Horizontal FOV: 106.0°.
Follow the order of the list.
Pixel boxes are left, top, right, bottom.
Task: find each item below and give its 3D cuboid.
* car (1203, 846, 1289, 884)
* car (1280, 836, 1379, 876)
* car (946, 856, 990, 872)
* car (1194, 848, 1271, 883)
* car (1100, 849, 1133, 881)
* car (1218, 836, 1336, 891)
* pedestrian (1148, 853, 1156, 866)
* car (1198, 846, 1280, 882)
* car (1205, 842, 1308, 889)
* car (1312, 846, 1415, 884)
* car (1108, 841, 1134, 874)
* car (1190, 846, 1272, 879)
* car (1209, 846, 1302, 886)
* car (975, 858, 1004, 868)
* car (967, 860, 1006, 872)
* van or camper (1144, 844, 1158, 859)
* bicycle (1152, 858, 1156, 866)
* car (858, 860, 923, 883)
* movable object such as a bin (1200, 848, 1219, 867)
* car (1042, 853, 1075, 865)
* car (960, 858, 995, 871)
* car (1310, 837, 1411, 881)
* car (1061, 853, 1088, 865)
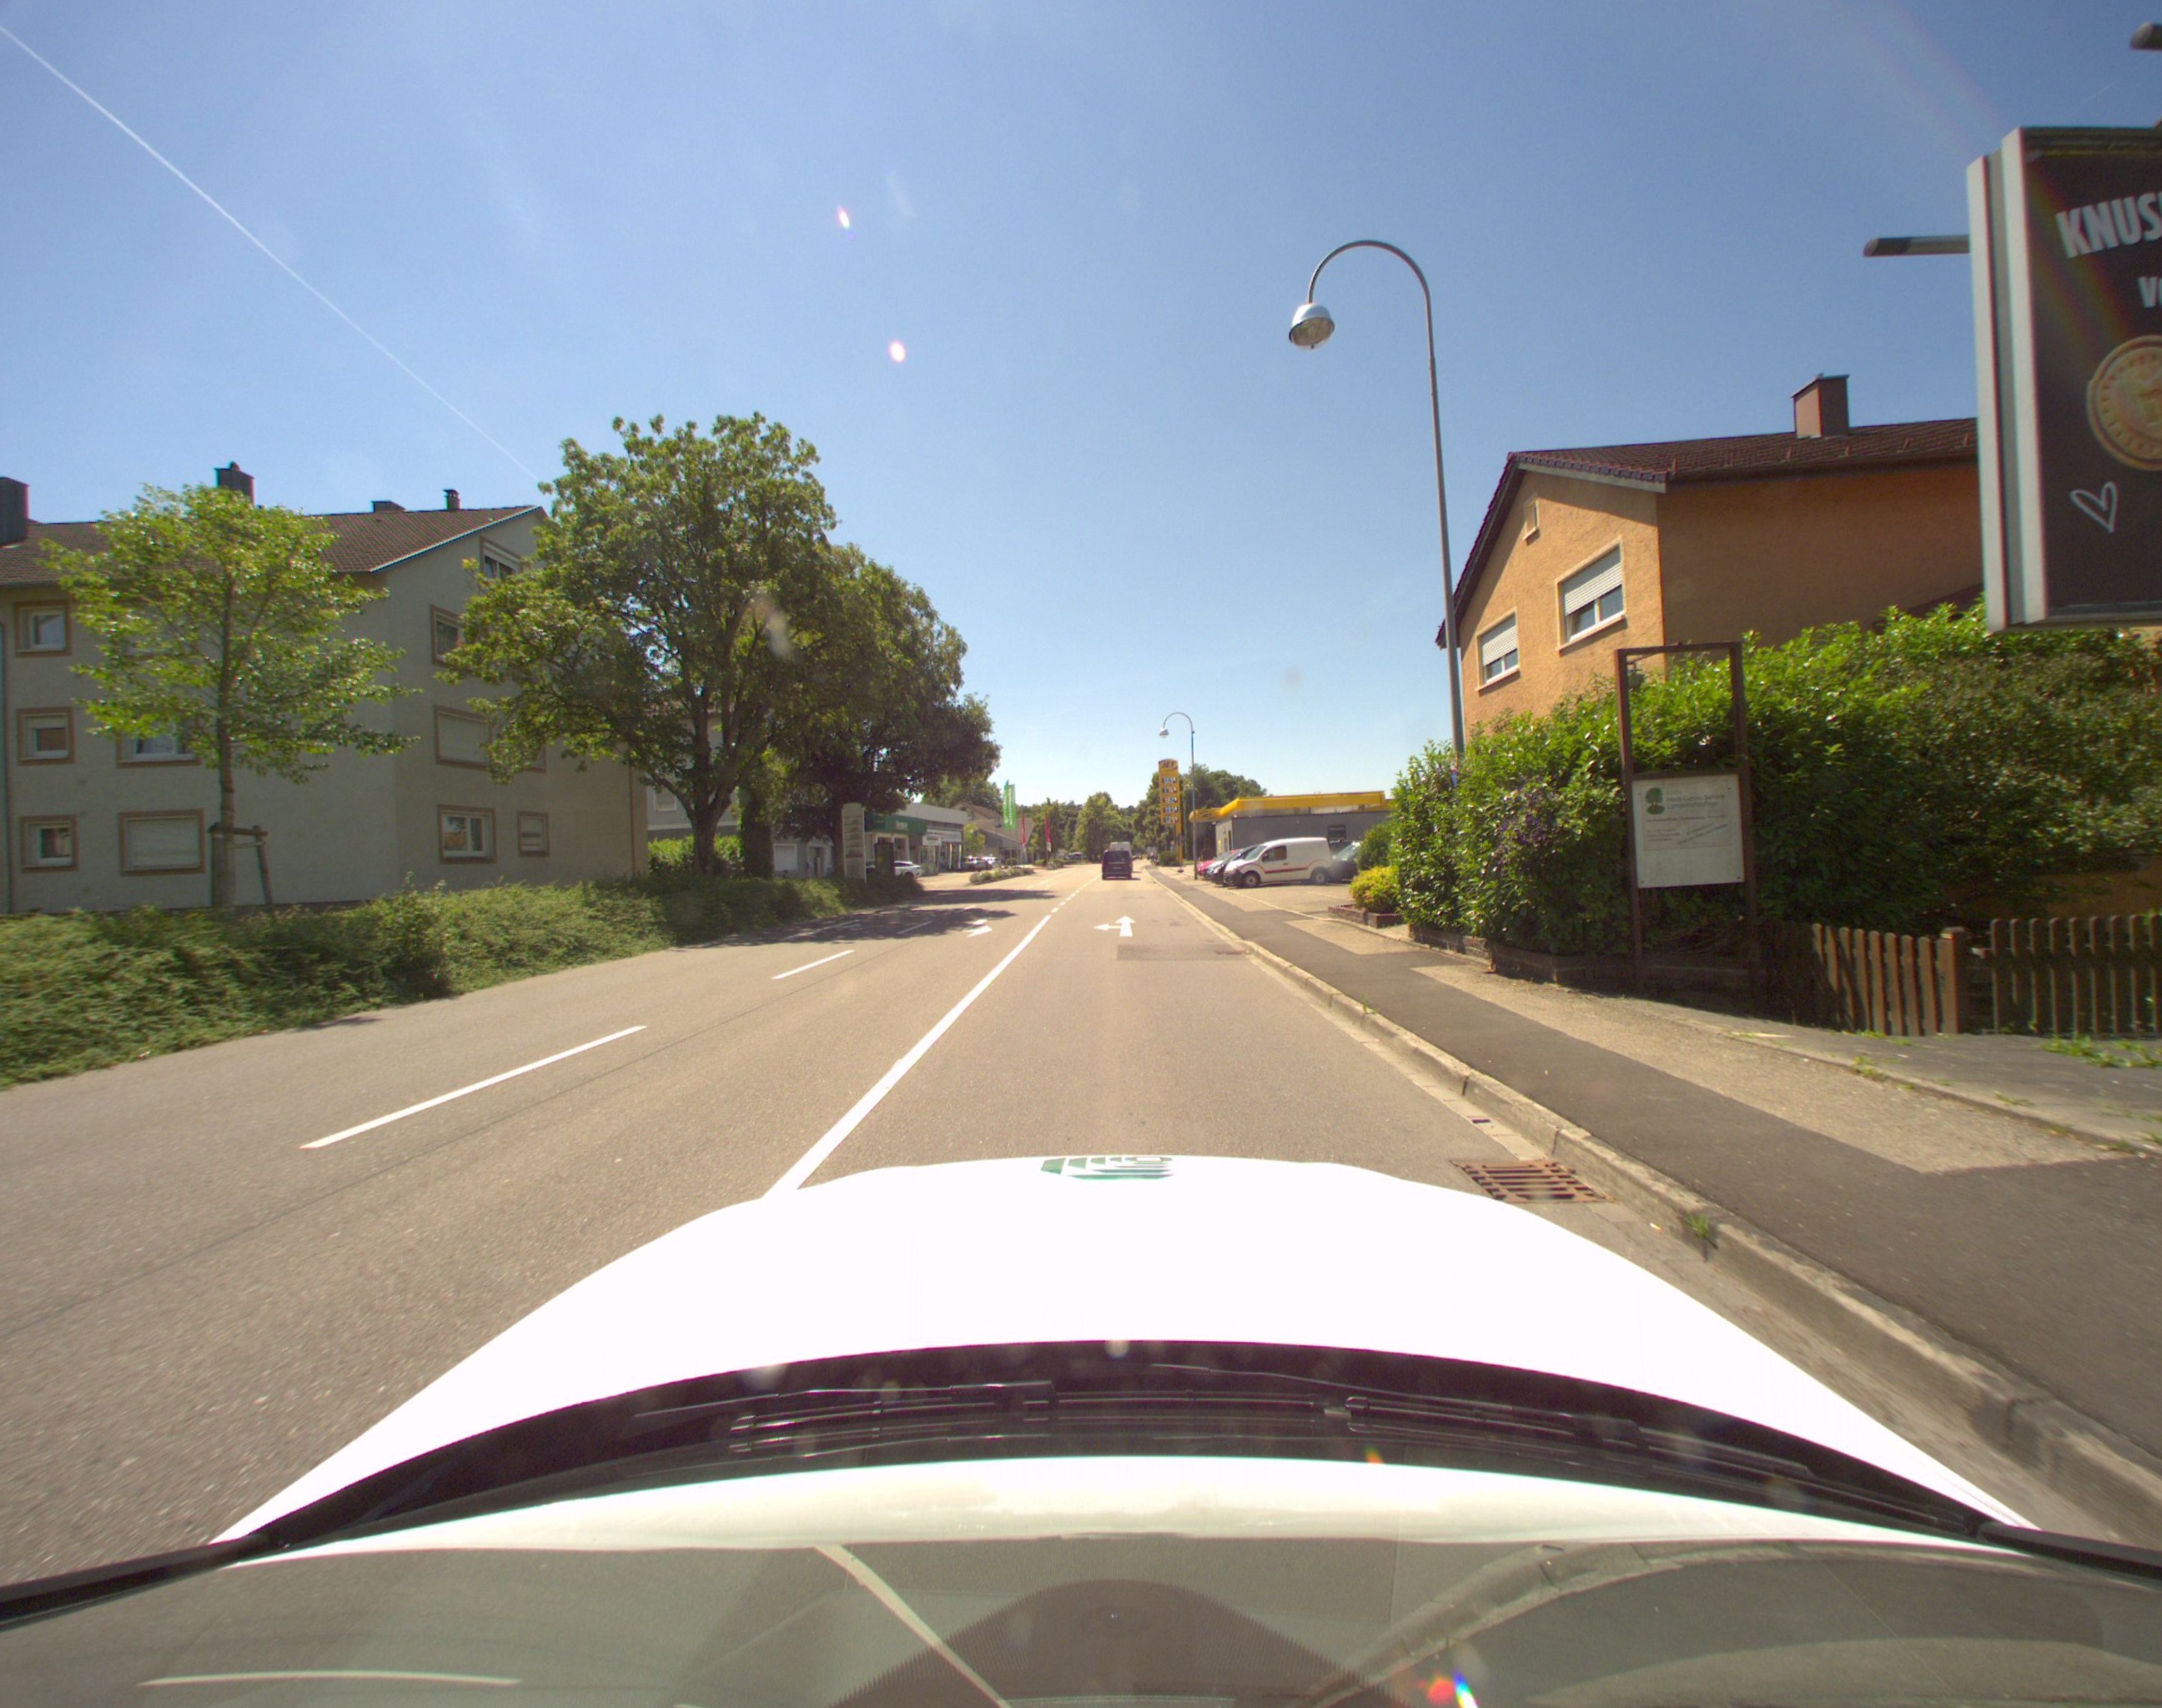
[{"bbox_3d":[7.716,0.488,38.297,3.672,1.566,1.642,-3,0,0],"label":"car"},{"bbox_3d":[12.379,0.103,40.751,4.326,1.896,1.972,1,0,0],"label":"car"},{"bbox_3d":[-12.822,1.131,92.505,4.491,1.664,2.011,-2,0,22],"label":"car"},{"bbox_3d":[7.940,0.589,42.870,3.673,1.566,1.708,-3,0,-1],"label":"car"},{"bbox_3d":[2.274,0.658,51.516,1.985,1.952,5.009,0,0,3],"label":"car"},{"bbox_3d":[7.612,0.344,31.851,4.124,1.938,1.806,-2,0,-3],"label":"car"},{"bbox_3d":[8.421,0.654,96.770,0.764,1.421,0.870,-2,0,11],"label":"pedestrian"},{"bbox_3d":[7.816,0.475,40.565,3.674,1.566,1.749,-3,0,-1],"label":"car"},{"bbox_3d":[7.249,0.455,33.961,3.863,1.680,1.763,-3,0,-1],"label":"car"},{"bbox_3d":[11.657,0.428,33.771,3.596,1.468,1.947,1,0,-3],"label":"car"},{"bbox_3d":[3.444,0.288,70.131,2.068,2.702,4.672,0,0,5],"label":"car"},{"bbox_3d":[8.299,0.457,45.329,4.208,1.534,1.959,-3,0,2],"label":"car"},{"bbox_3d":[7.700,0.512,36.209,3.776,1.509,1.835,-3,0,3],"label":"car"},{"bbox_3d":[-14.941,1.484,133.041,4.293,1.530,1.829,-1,-1,3],"label":"car"},{"bbox_3d":[-11.627,1.475,100.243,4.149,1.446,1.989,-2,0,19],"label":"car"},{"bbox_3d":[14.211,-0.446,165.314,2.620,2.929,5.211,-1,-1,4],"label":"van or camper"},{"bbox_3d":[8.669,0.994,96.630,0.375,0.912,1.603,-2,0,11],"label":"bicycle"},{"bbox_3d":[-13.626,1.261,58.278,4.355,1.439,1.927,-2,0,-20],"label":"car"},{"bbox_3d":[10.799,0.276,68.579,1.428,1.438,1.469,-4,0,4],"label":"movable object such as a bin"},{"bbox_3d":[-3.475,0.787,126.030,4.677,1.762,2.105,-1,-1,11],"label":"car"},{"bbox_3d":[-12.374,1.268,97.481,3.594,1.474,2.011,-2,0,22],"label":"car"},{"bbox_3d":[12.233,0.211,35.795,3.876,1.838,1.690,1,0,4],"label":"car"},{"bbox_3d":[-1.068,0.858,136.112,4.336,1.980,1.907,-1,-1,5],"label":"car"}]
